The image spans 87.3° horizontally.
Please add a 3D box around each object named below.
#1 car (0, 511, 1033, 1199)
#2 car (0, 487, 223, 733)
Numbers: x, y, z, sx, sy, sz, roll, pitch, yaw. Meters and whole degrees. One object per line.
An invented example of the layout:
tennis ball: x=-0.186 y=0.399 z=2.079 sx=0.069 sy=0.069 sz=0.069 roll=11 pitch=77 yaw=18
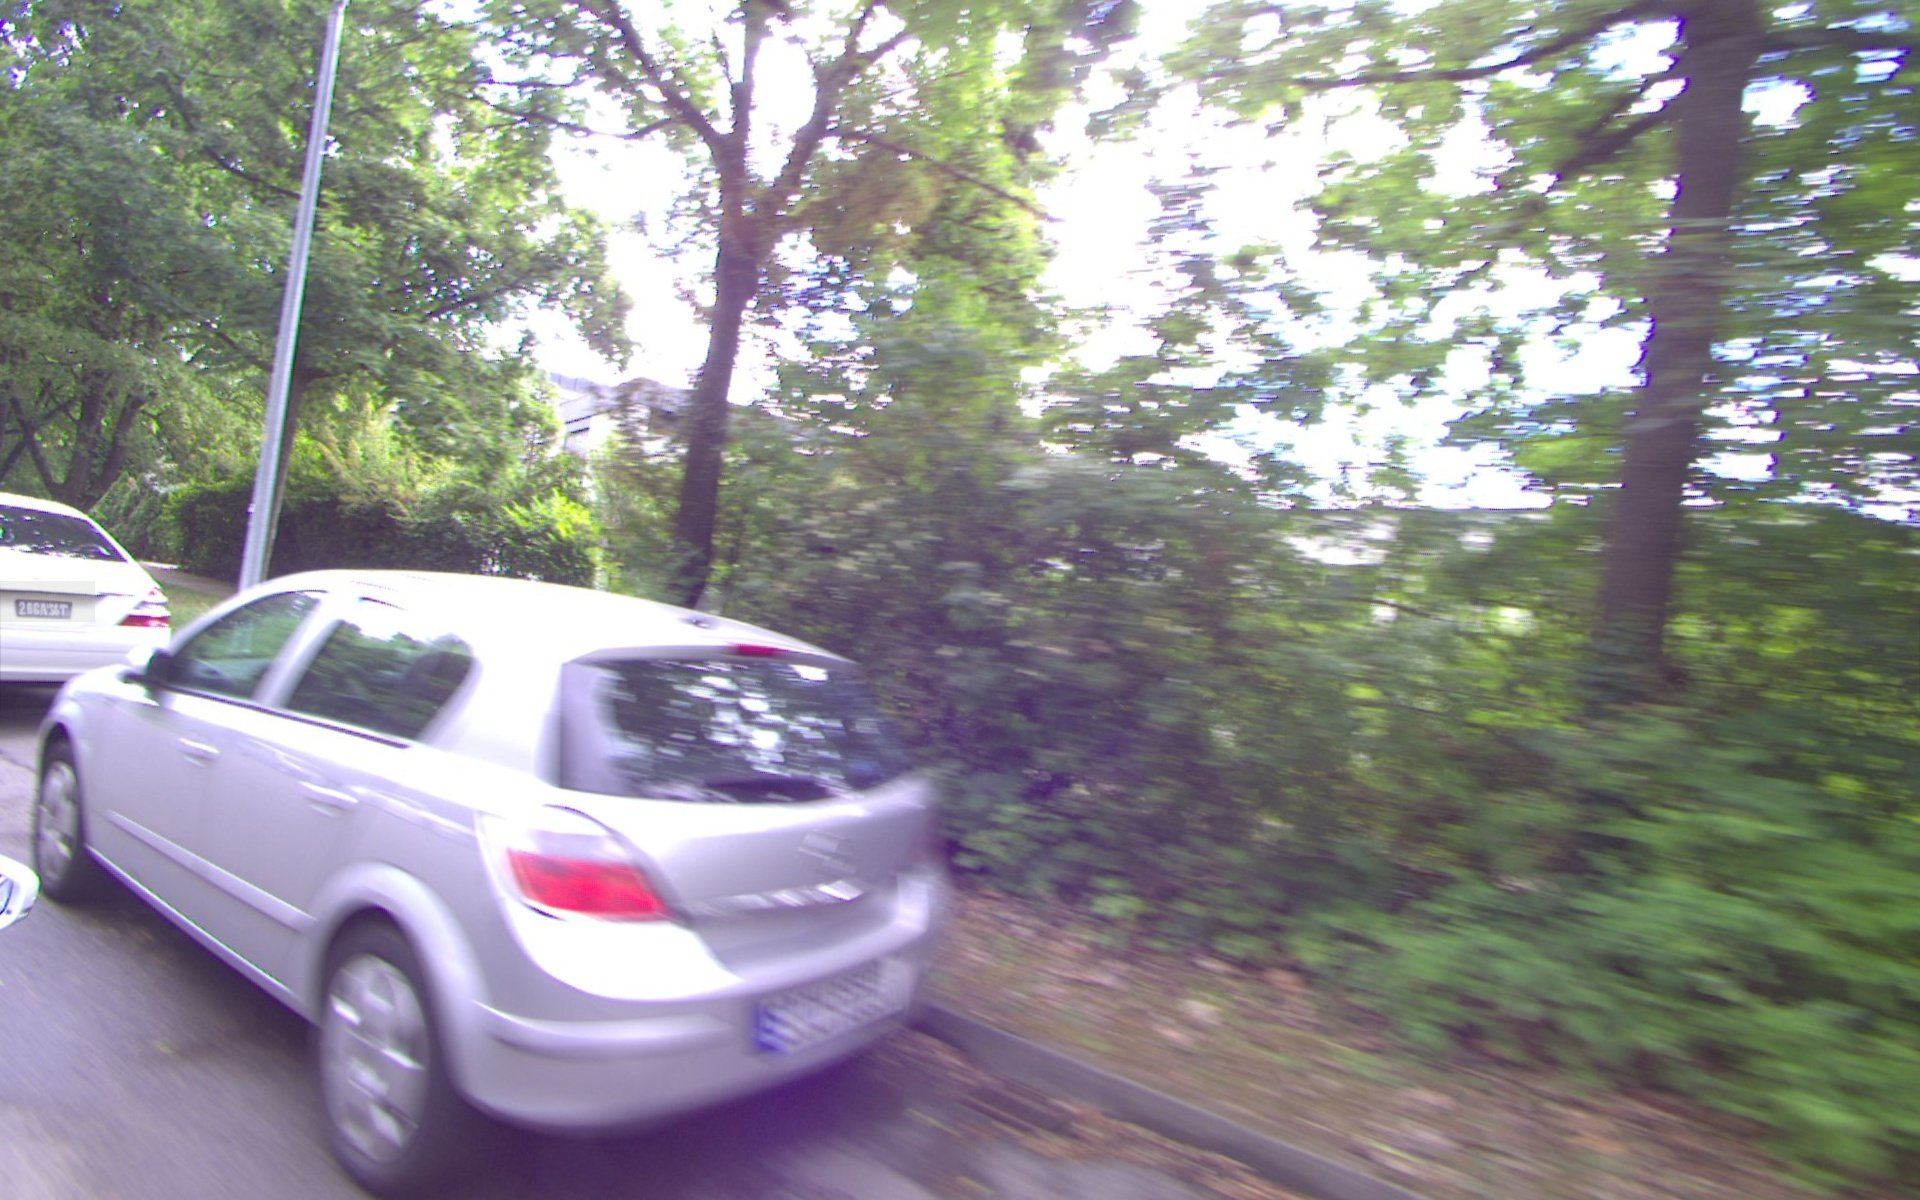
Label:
car: x=-1.959 y=0.608 z=3.859 sx=3.995 sy=1.427 sz=1.794 roll=7 pitch=-1 yaw=35
car: x=-7.970 y=-0.171 z=7.782 sx=5.092 sy=1.524 sz=1.889 roll=7 pitch=-1 yaw=33
